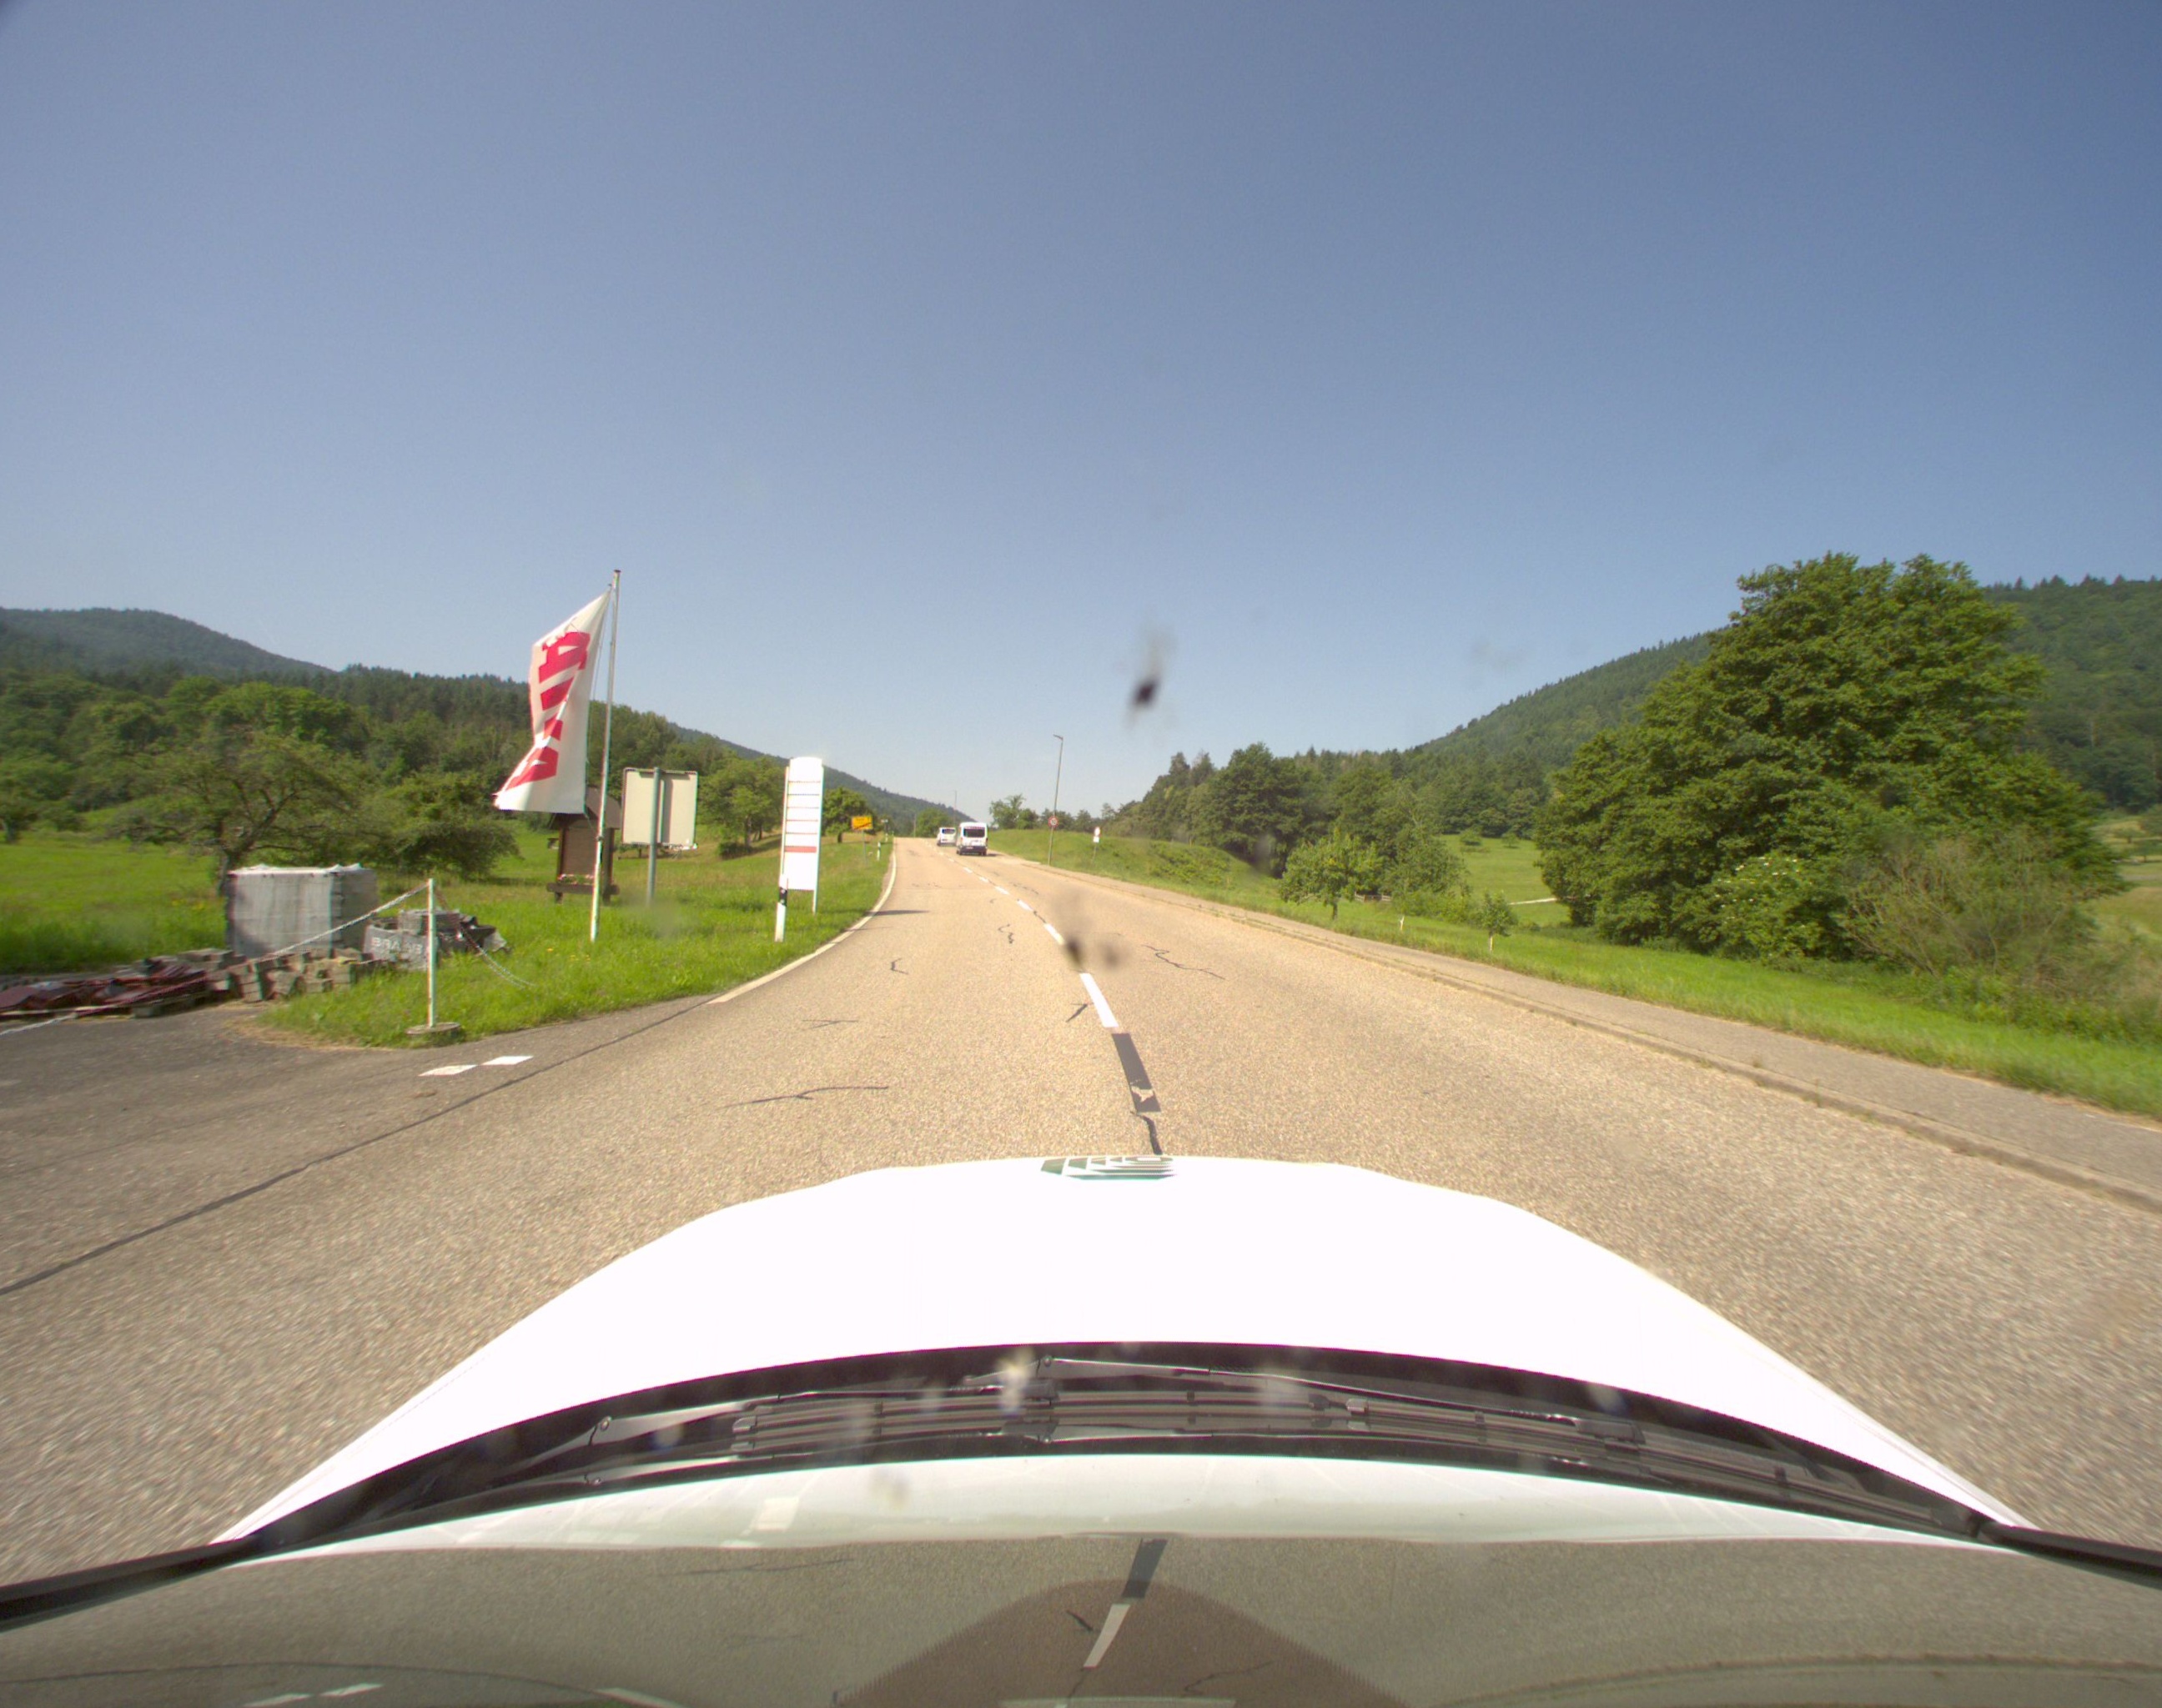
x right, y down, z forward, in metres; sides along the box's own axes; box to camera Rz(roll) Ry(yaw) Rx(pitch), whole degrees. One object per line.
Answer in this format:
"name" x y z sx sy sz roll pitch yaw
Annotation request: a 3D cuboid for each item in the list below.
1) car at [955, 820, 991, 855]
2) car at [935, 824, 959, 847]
"car" -8.206 -1.177 61.694 2.225 2.525 4.962 -1 0 -13
"car" -14.429 -1.961 87.573 2.225 2.287 4.961 -1 0 -14
